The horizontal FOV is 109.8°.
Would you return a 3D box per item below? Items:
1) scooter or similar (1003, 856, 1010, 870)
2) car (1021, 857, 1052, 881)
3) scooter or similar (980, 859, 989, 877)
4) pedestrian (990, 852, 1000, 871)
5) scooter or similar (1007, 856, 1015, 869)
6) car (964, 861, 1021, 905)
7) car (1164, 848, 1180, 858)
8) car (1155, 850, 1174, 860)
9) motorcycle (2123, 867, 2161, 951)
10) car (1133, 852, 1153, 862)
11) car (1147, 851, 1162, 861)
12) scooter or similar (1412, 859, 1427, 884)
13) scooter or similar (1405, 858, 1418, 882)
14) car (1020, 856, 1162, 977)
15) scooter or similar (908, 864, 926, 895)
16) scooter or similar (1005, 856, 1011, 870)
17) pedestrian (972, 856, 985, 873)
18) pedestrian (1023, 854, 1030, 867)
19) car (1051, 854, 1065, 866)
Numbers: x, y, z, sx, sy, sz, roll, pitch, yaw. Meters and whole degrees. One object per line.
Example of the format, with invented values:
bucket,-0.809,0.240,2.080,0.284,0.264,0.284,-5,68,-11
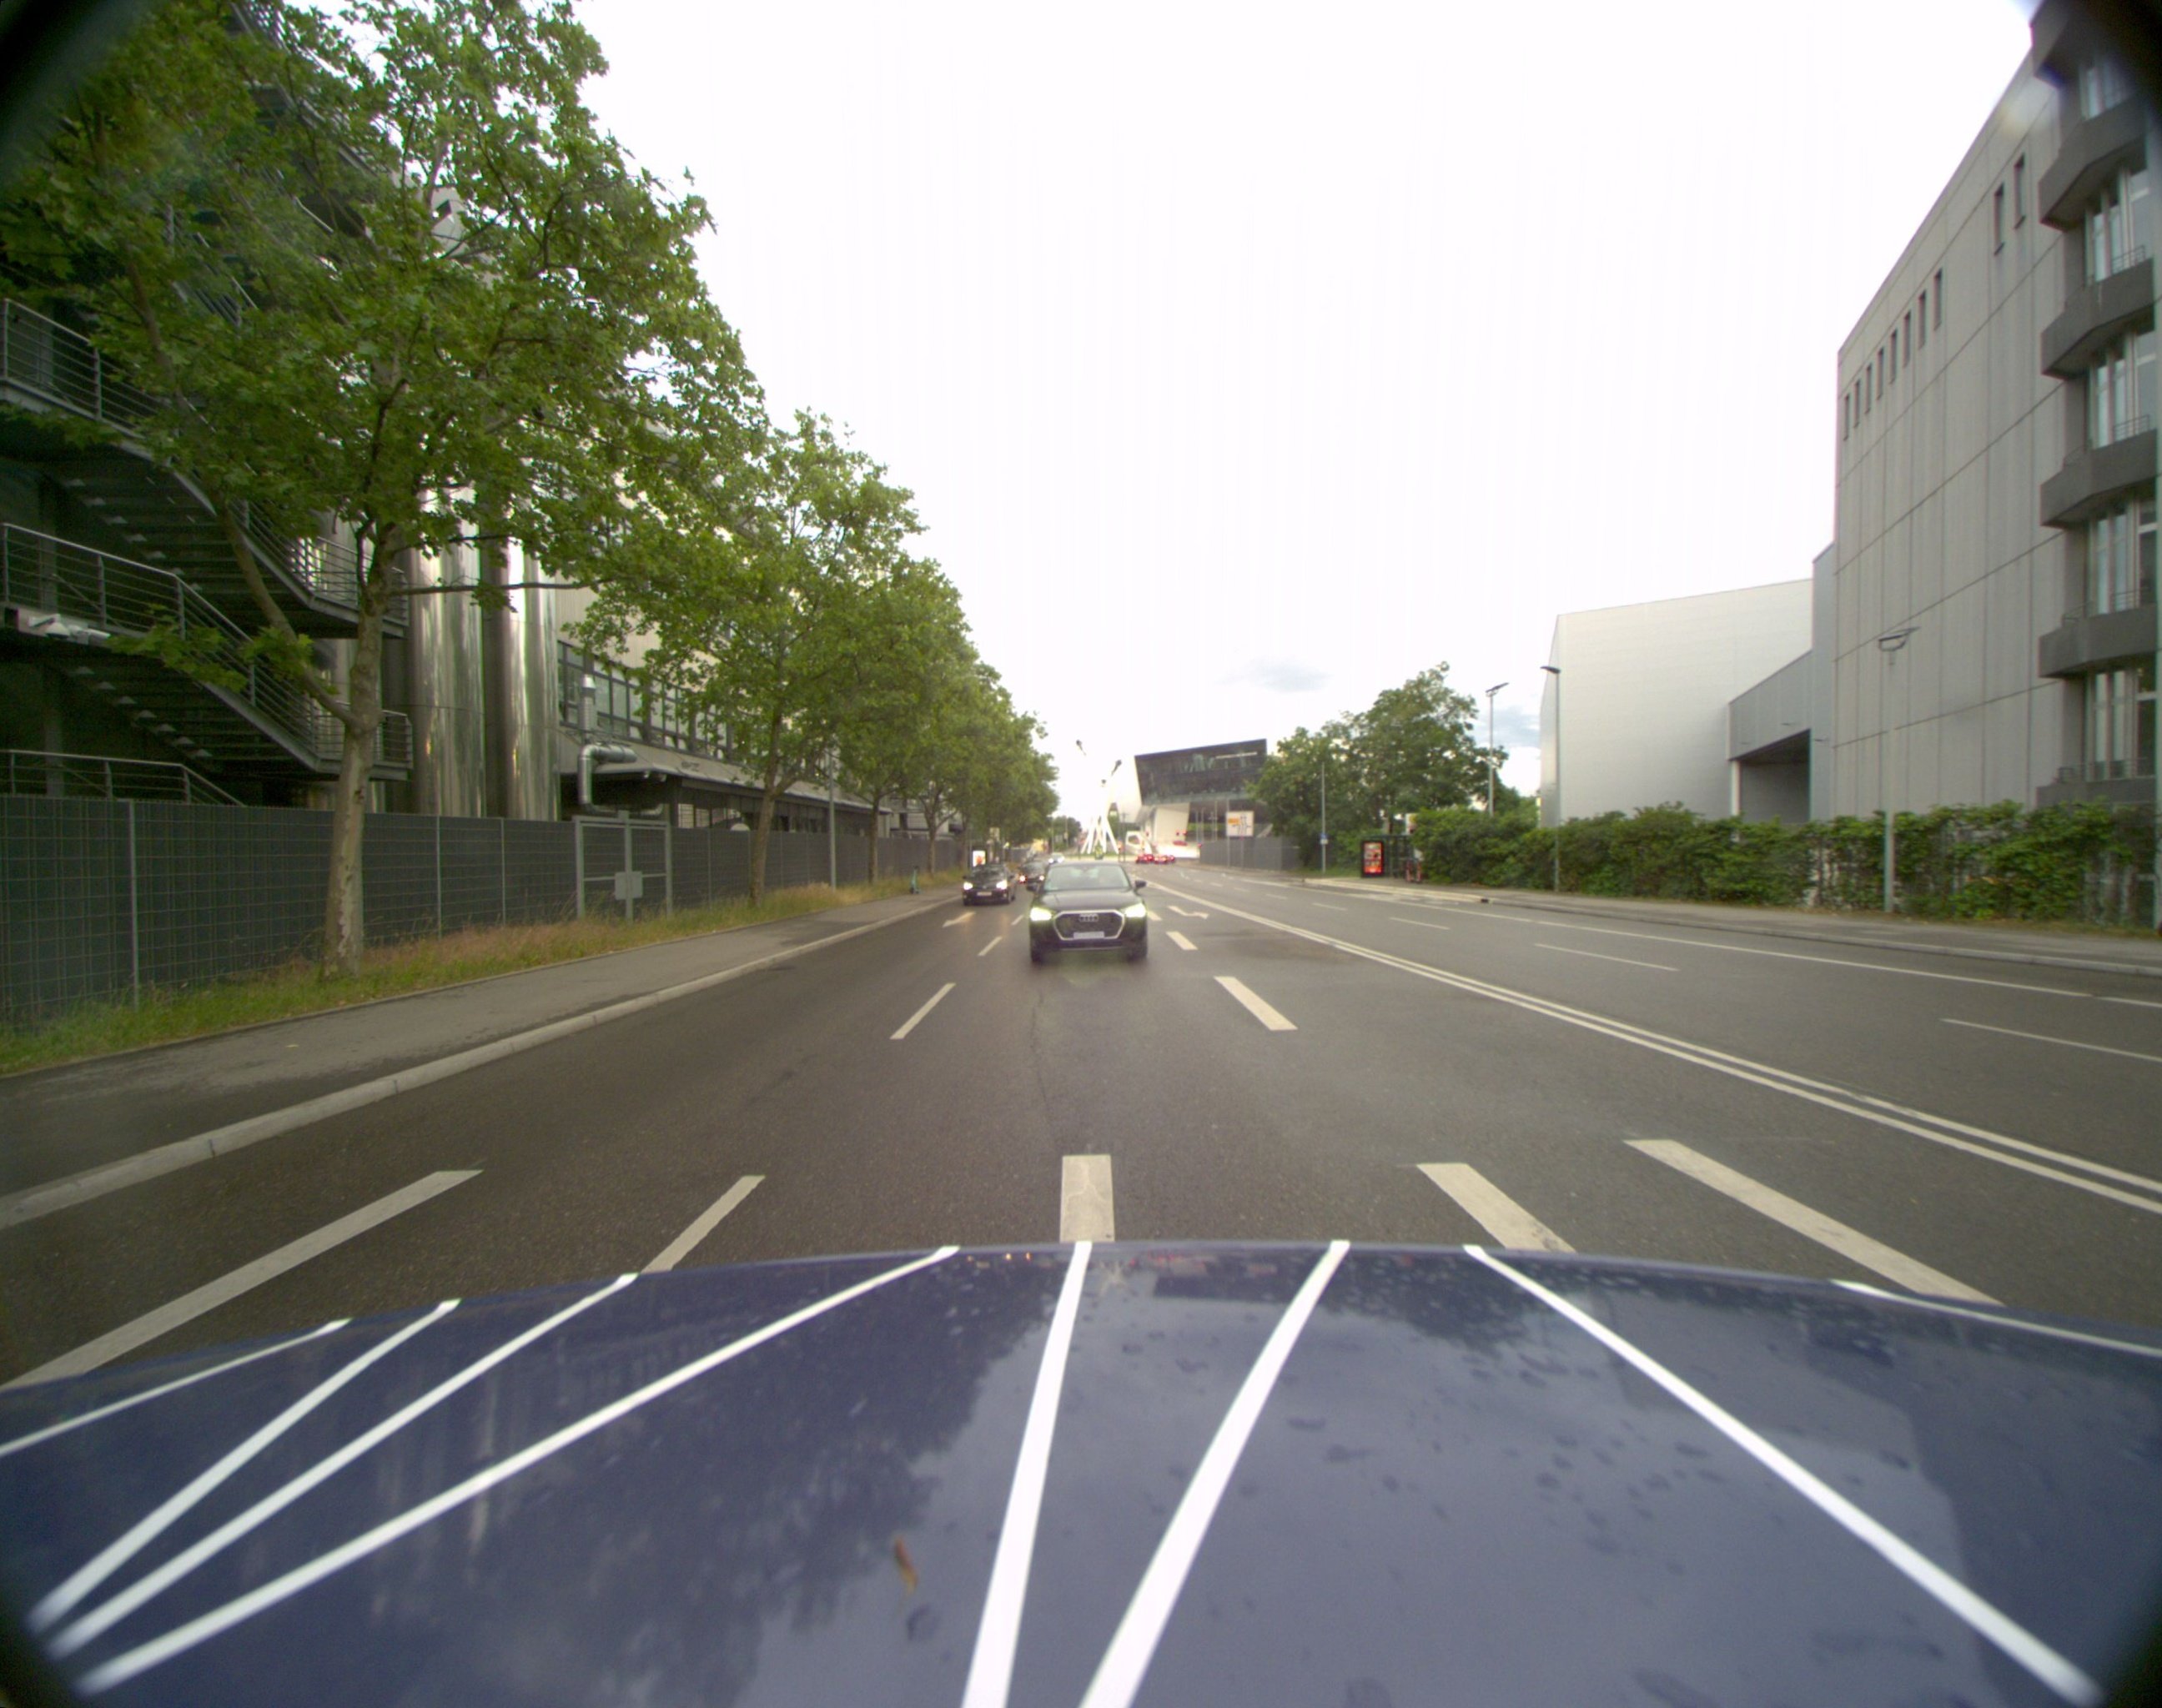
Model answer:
scooter or similar,-6.981,0.866,70.893,0.437,1.288,1.300,-1,1,3
car,-2.928,0.966,50.463,1.842,1.444,4.785,-2,0,-1
scooter or similar,-6.910,1.001,54.445,0.329,1.301,1.246,-1,1,5
pedestrian,-7.556,0.638,67.118,0.778,1.700,0.729,-1,1,-1
scooter or similar,-6.910,0.844,74.985,0.437,1.288,1.367,-1,1,7
car,-3.225,1.013,28.475,1.881,1.485,4.075,0,0,-3
car,15.248,-0.247,127.103,1.862,1.641,3.793,-1,0,19
car,13.214,0.173,119.952,2.267,1.469,4.052,-1,1,18
motorcycle,16.677,0.839,10.789,0.786,1.243,2.157,-1,0,0
car,9.979,0.455,121.872,2.255,1.469,3.884,-1,1,18
car,12.313,0.361,127.061,1.878,1.641,3.857,-1,0,16
scooter or similar,16.189,0.817,36.336,0.379,1.174,1.379,-1,1,14
scooter or similar,16.415,0.786,37.766,0.389,1.173,1.251,-1,1,14
car,0.088,0.887,13.358,1.951,1.609,5.276,-2,0,-1
scooter or similar,-6.867,1.071,31.845,0.329,1.262,1.109,-1,1,9
scooter or similar,-7.018,0.857,73.024,0.437,1.288,1.300,-1,1,3
pedestrian,-8.522,0.873,63.200,0.932,1.408,0.698,-1,1,-1
pedestrian,-6.776,0.813,94.344,0.723,1.610,0.833,1,1,-1
car,-3.246,0.836,108.270,1.951,1.610,4.072,0,0,-1
